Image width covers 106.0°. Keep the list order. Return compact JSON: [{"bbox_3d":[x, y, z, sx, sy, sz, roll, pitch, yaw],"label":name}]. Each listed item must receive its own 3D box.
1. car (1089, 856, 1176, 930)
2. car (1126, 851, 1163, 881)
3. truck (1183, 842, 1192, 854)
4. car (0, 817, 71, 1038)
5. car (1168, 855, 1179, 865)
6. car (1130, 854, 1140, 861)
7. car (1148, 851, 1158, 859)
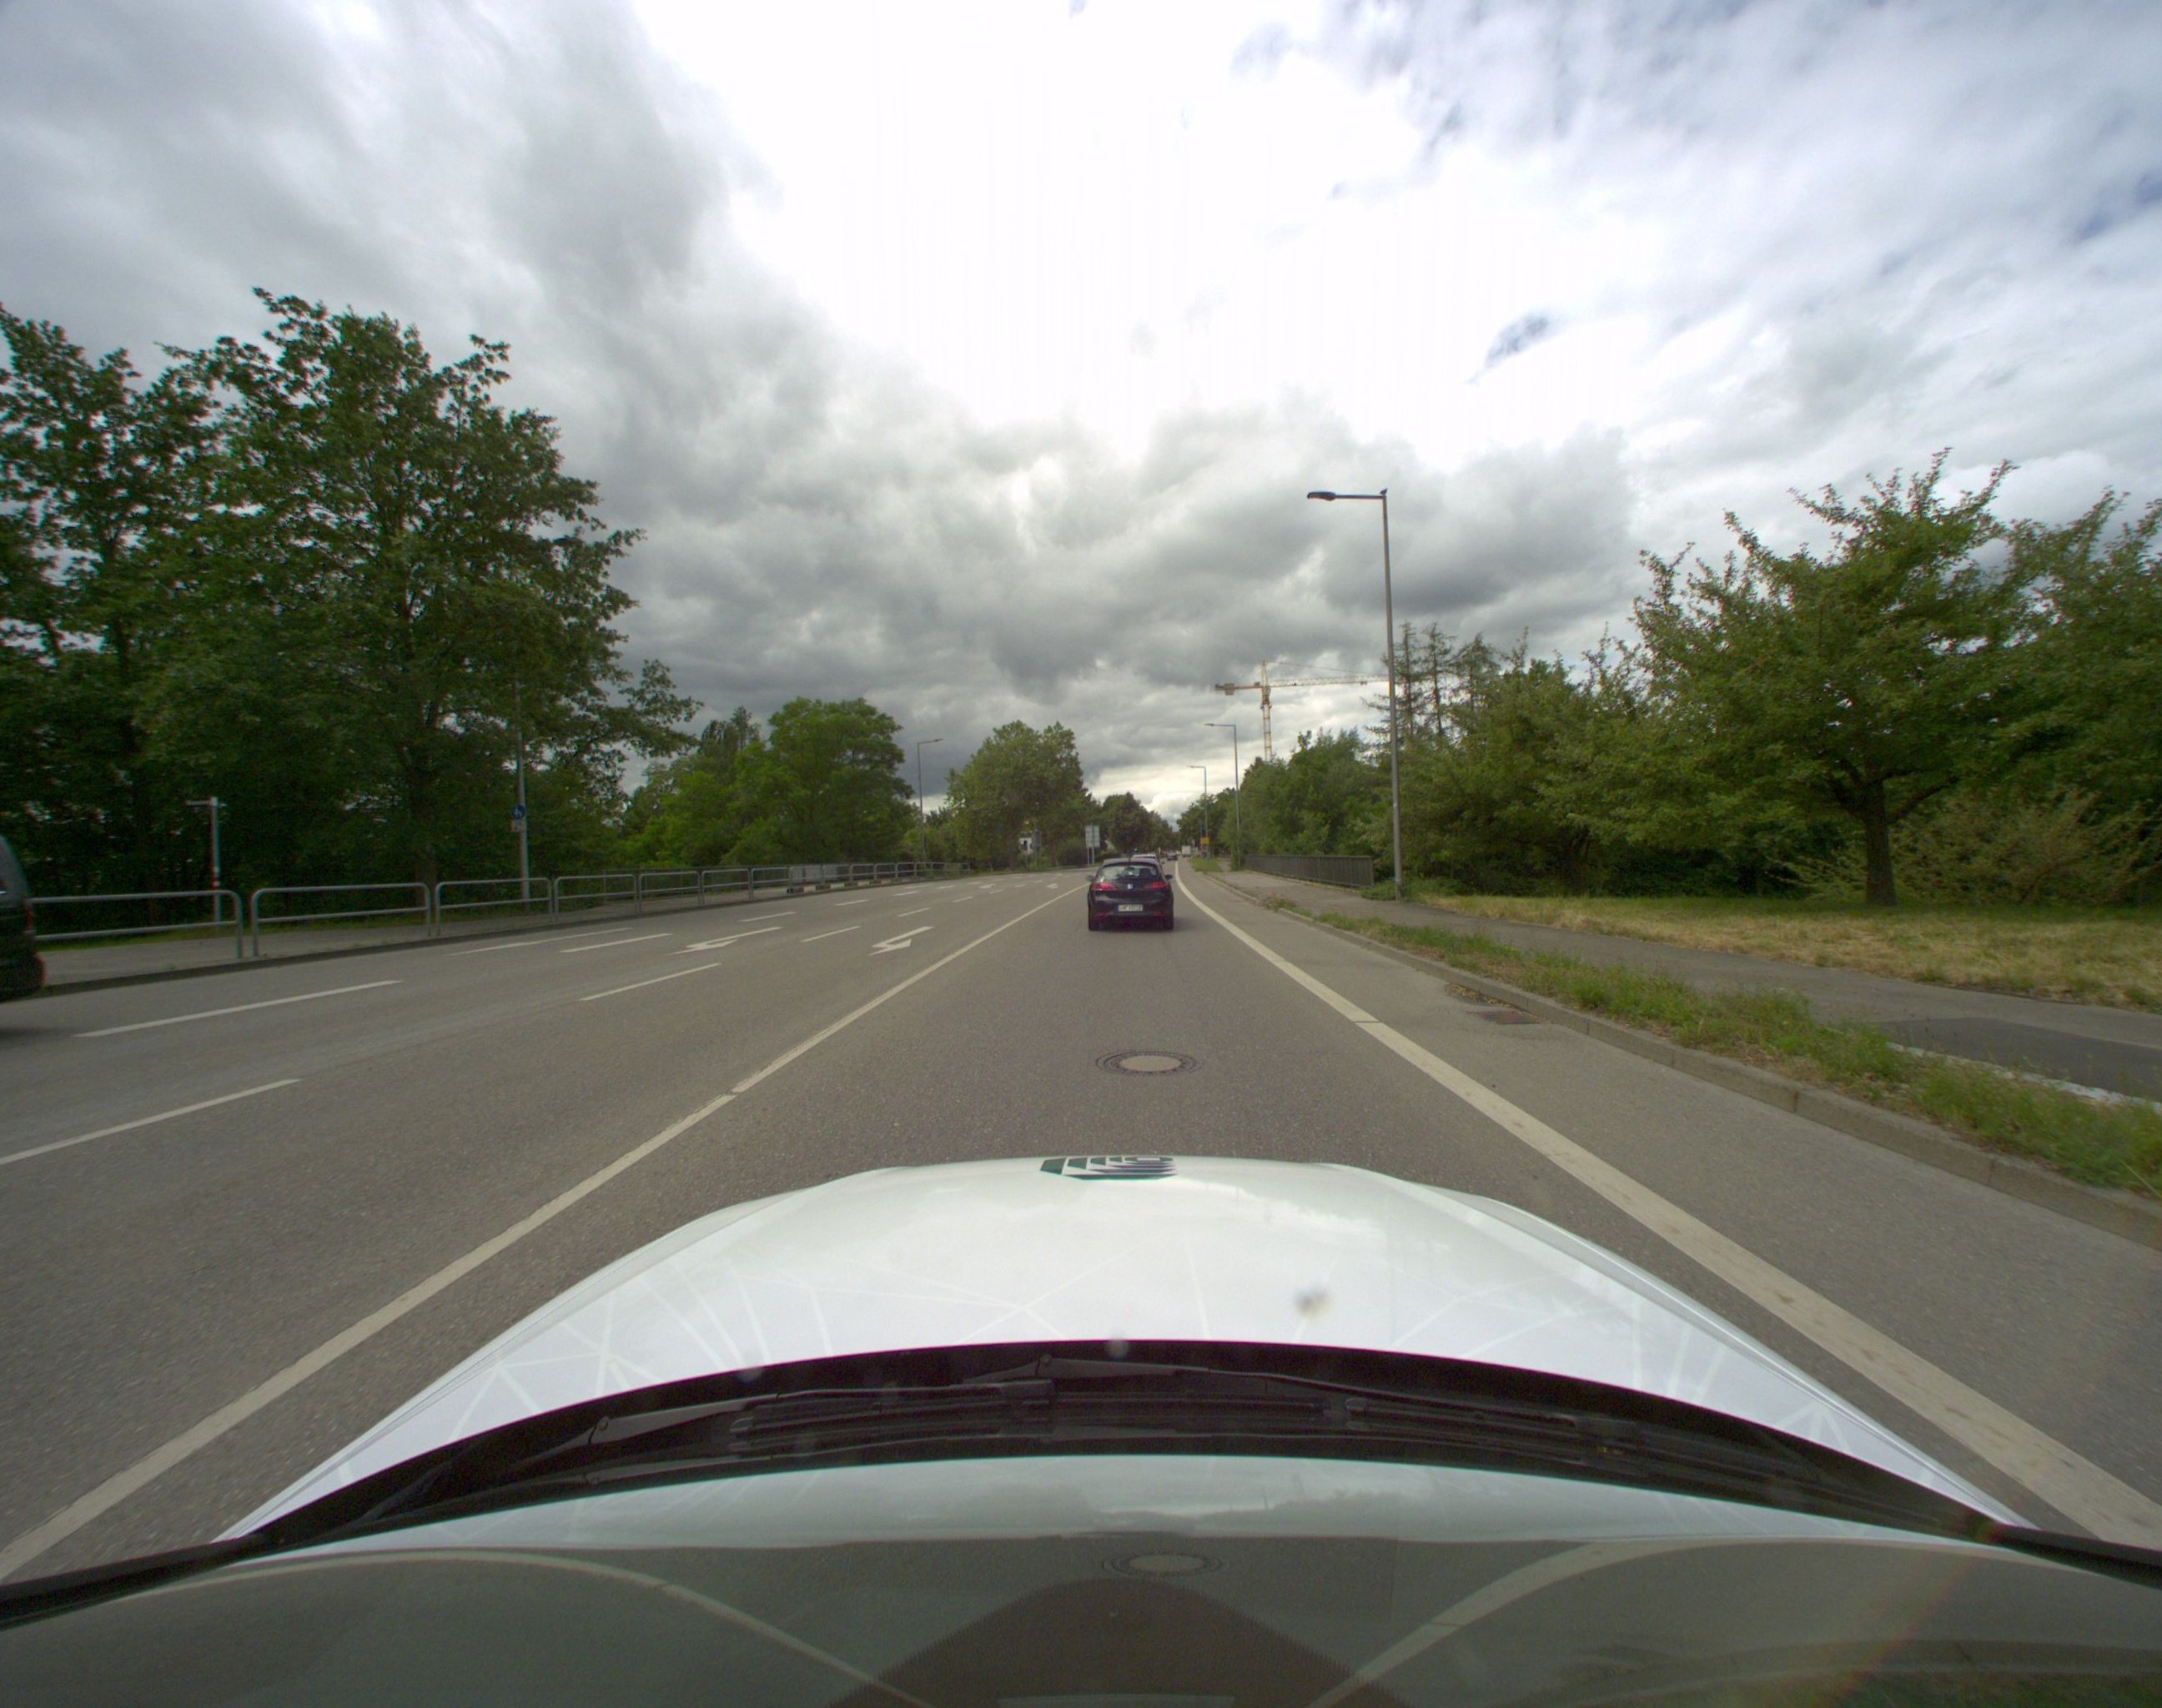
[{"bbox_3d":[1.140,0.761,17.523,1.655,1.401,3.816,-1,0,5],"label":"car"},{"bbox_3d":[3.398,0.604,42.852,1.837,1.510,3.817,-1,0,5],"label":"car"},{"bbox_3d":[28.913,-1.506,221.088,2.266,3.104,8.530,0,0,8],"label":"truck"},{"bbox_3d":[-10.583,0.676,4.968,2.011,1.947,5.367,-2,0,2],"label":"car"},{"bbox_3d":[16.979,1.133,149.126,1.870,1.689,4.224,-2,0,9],"label":"car"},{"bbox_3d":[11.677,0.740,177.001,1.708,1.395,4.813,-4,0,9],"label":"car"},{"bbox_3d":[18.099,0.331,205.266,2.088,1.896,5.798,-4,0,9],"label":"car"}]
